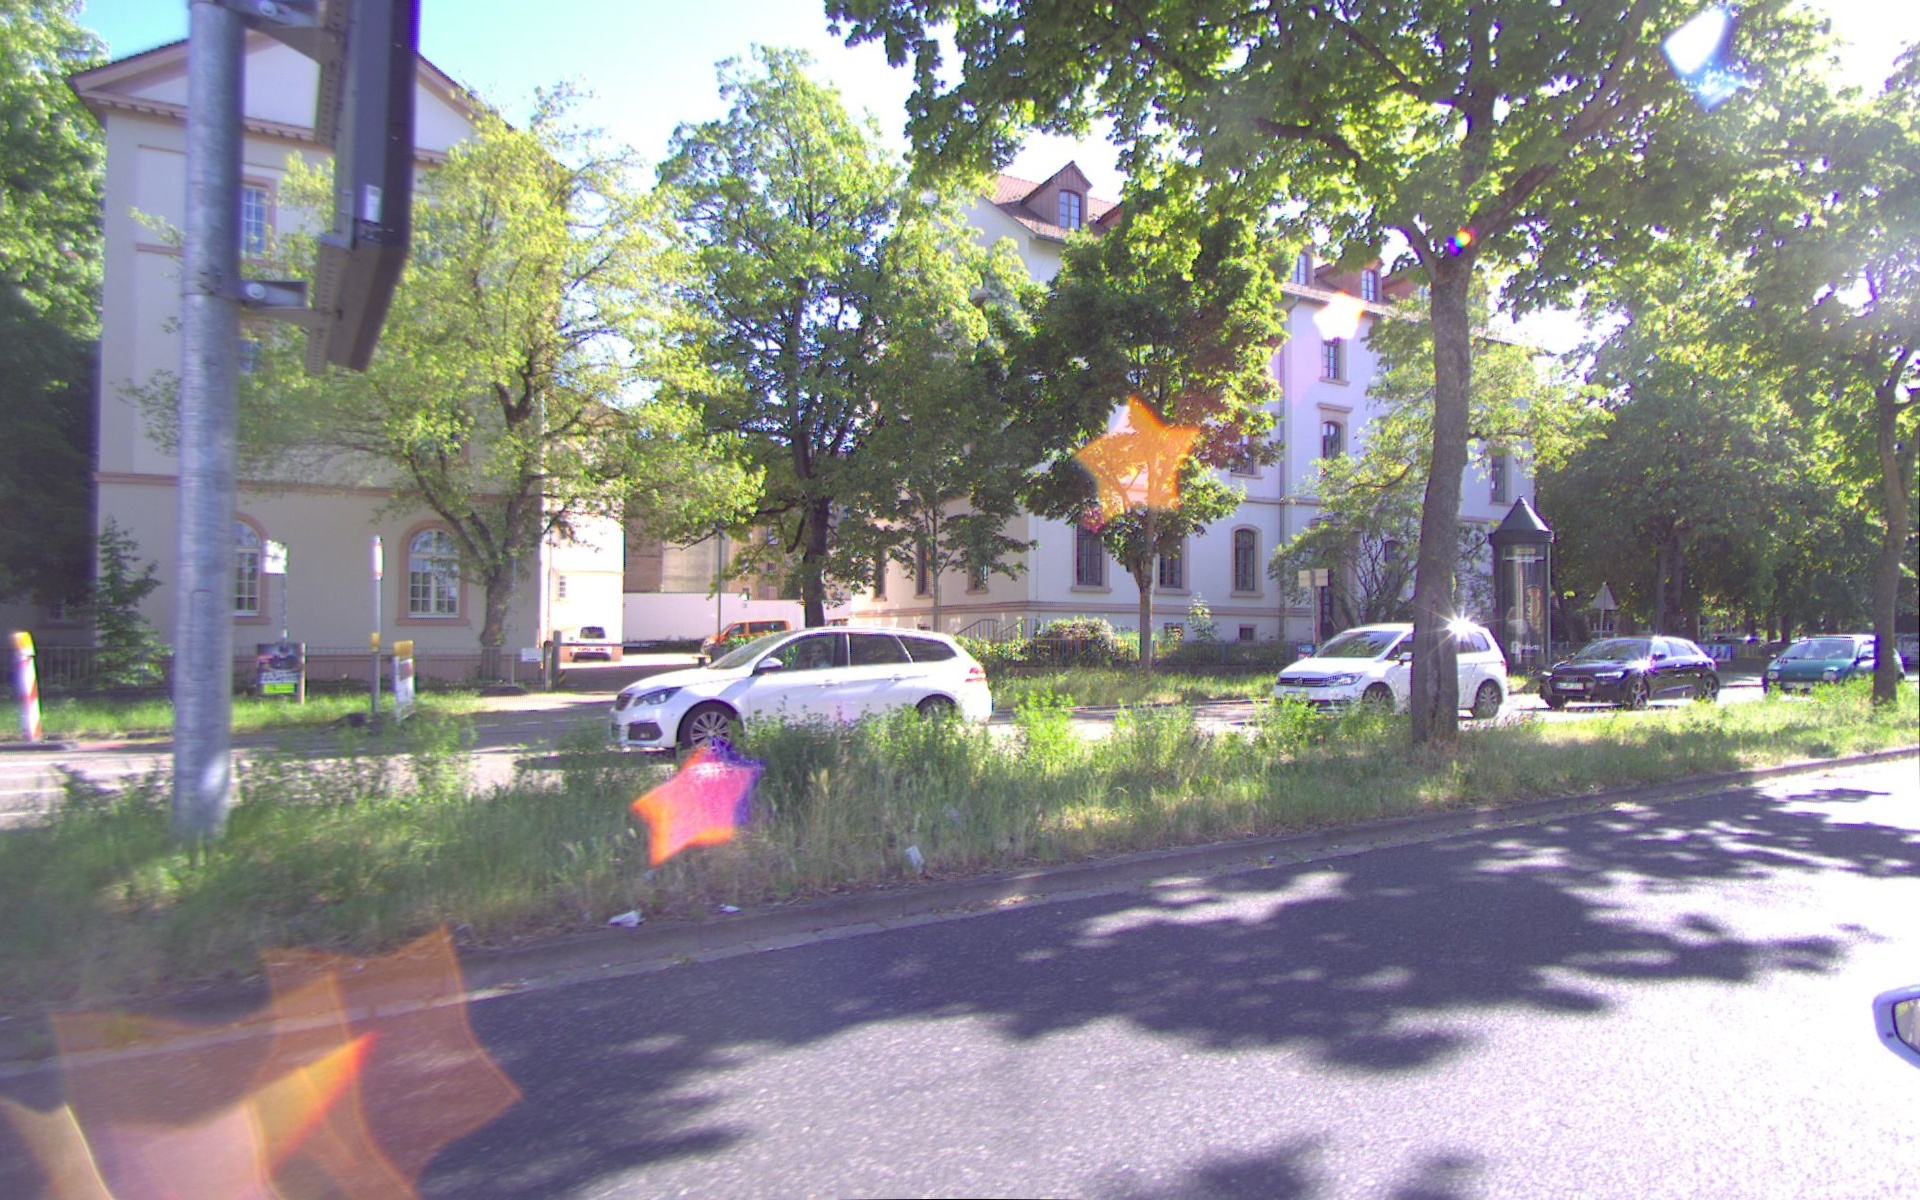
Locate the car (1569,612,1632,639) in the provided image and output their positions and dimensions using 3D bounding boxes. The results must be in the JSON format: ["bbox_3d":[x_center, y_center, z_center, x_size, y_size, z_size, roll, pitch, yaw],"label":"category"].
[{"bbox_3d":[42.517,1.705,66.674,3.953,1.510,1.837,5,-2,-29],"label":"car"}]

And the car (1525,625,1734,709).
[{"bbox_3d":[13.501,1.349,20.245,4.035,1.538,1.789,2,-4,-28],"label":"car"}]

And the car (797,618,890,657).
[{"bbox_3d":[-6.499,2.068,56.115,4.726,1.982,1.988,-1,-1,-25],"label":"car"}]

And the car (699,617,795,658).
[{"bbox_3d":[-11.426,1.980,53.977,4.726,1.982,1.988,-1,-1,-25],"label":"car"}]

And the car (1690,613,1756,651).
[{"bbox_3d":[54.200,2.297,71.323,4.926,2.354,1.837,5,-2,-29],"label":"car"}]

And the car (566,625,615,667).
[{"bbox_3d":[-18.236,2.236,49.512,1.972,1.817,3.978,4,-2,-23],"label":"car"}]

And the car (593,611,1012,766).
[{"bbox_3d":[-1.815,0.975,11.971,4.609,1.538,1.831,1,-4,-29],"label":"car"}]

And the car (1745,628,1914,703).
[{"bbox_3d":[19.346,1.398,22.310,4.209,1.539,1.630,1,-2,-31],"label":"car"}]

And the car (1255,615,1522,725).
[{"bbox_3d":[7.285,1.129,16.979,4.485,1.647,1.891,1,-3,-31],"label":"car"}]
